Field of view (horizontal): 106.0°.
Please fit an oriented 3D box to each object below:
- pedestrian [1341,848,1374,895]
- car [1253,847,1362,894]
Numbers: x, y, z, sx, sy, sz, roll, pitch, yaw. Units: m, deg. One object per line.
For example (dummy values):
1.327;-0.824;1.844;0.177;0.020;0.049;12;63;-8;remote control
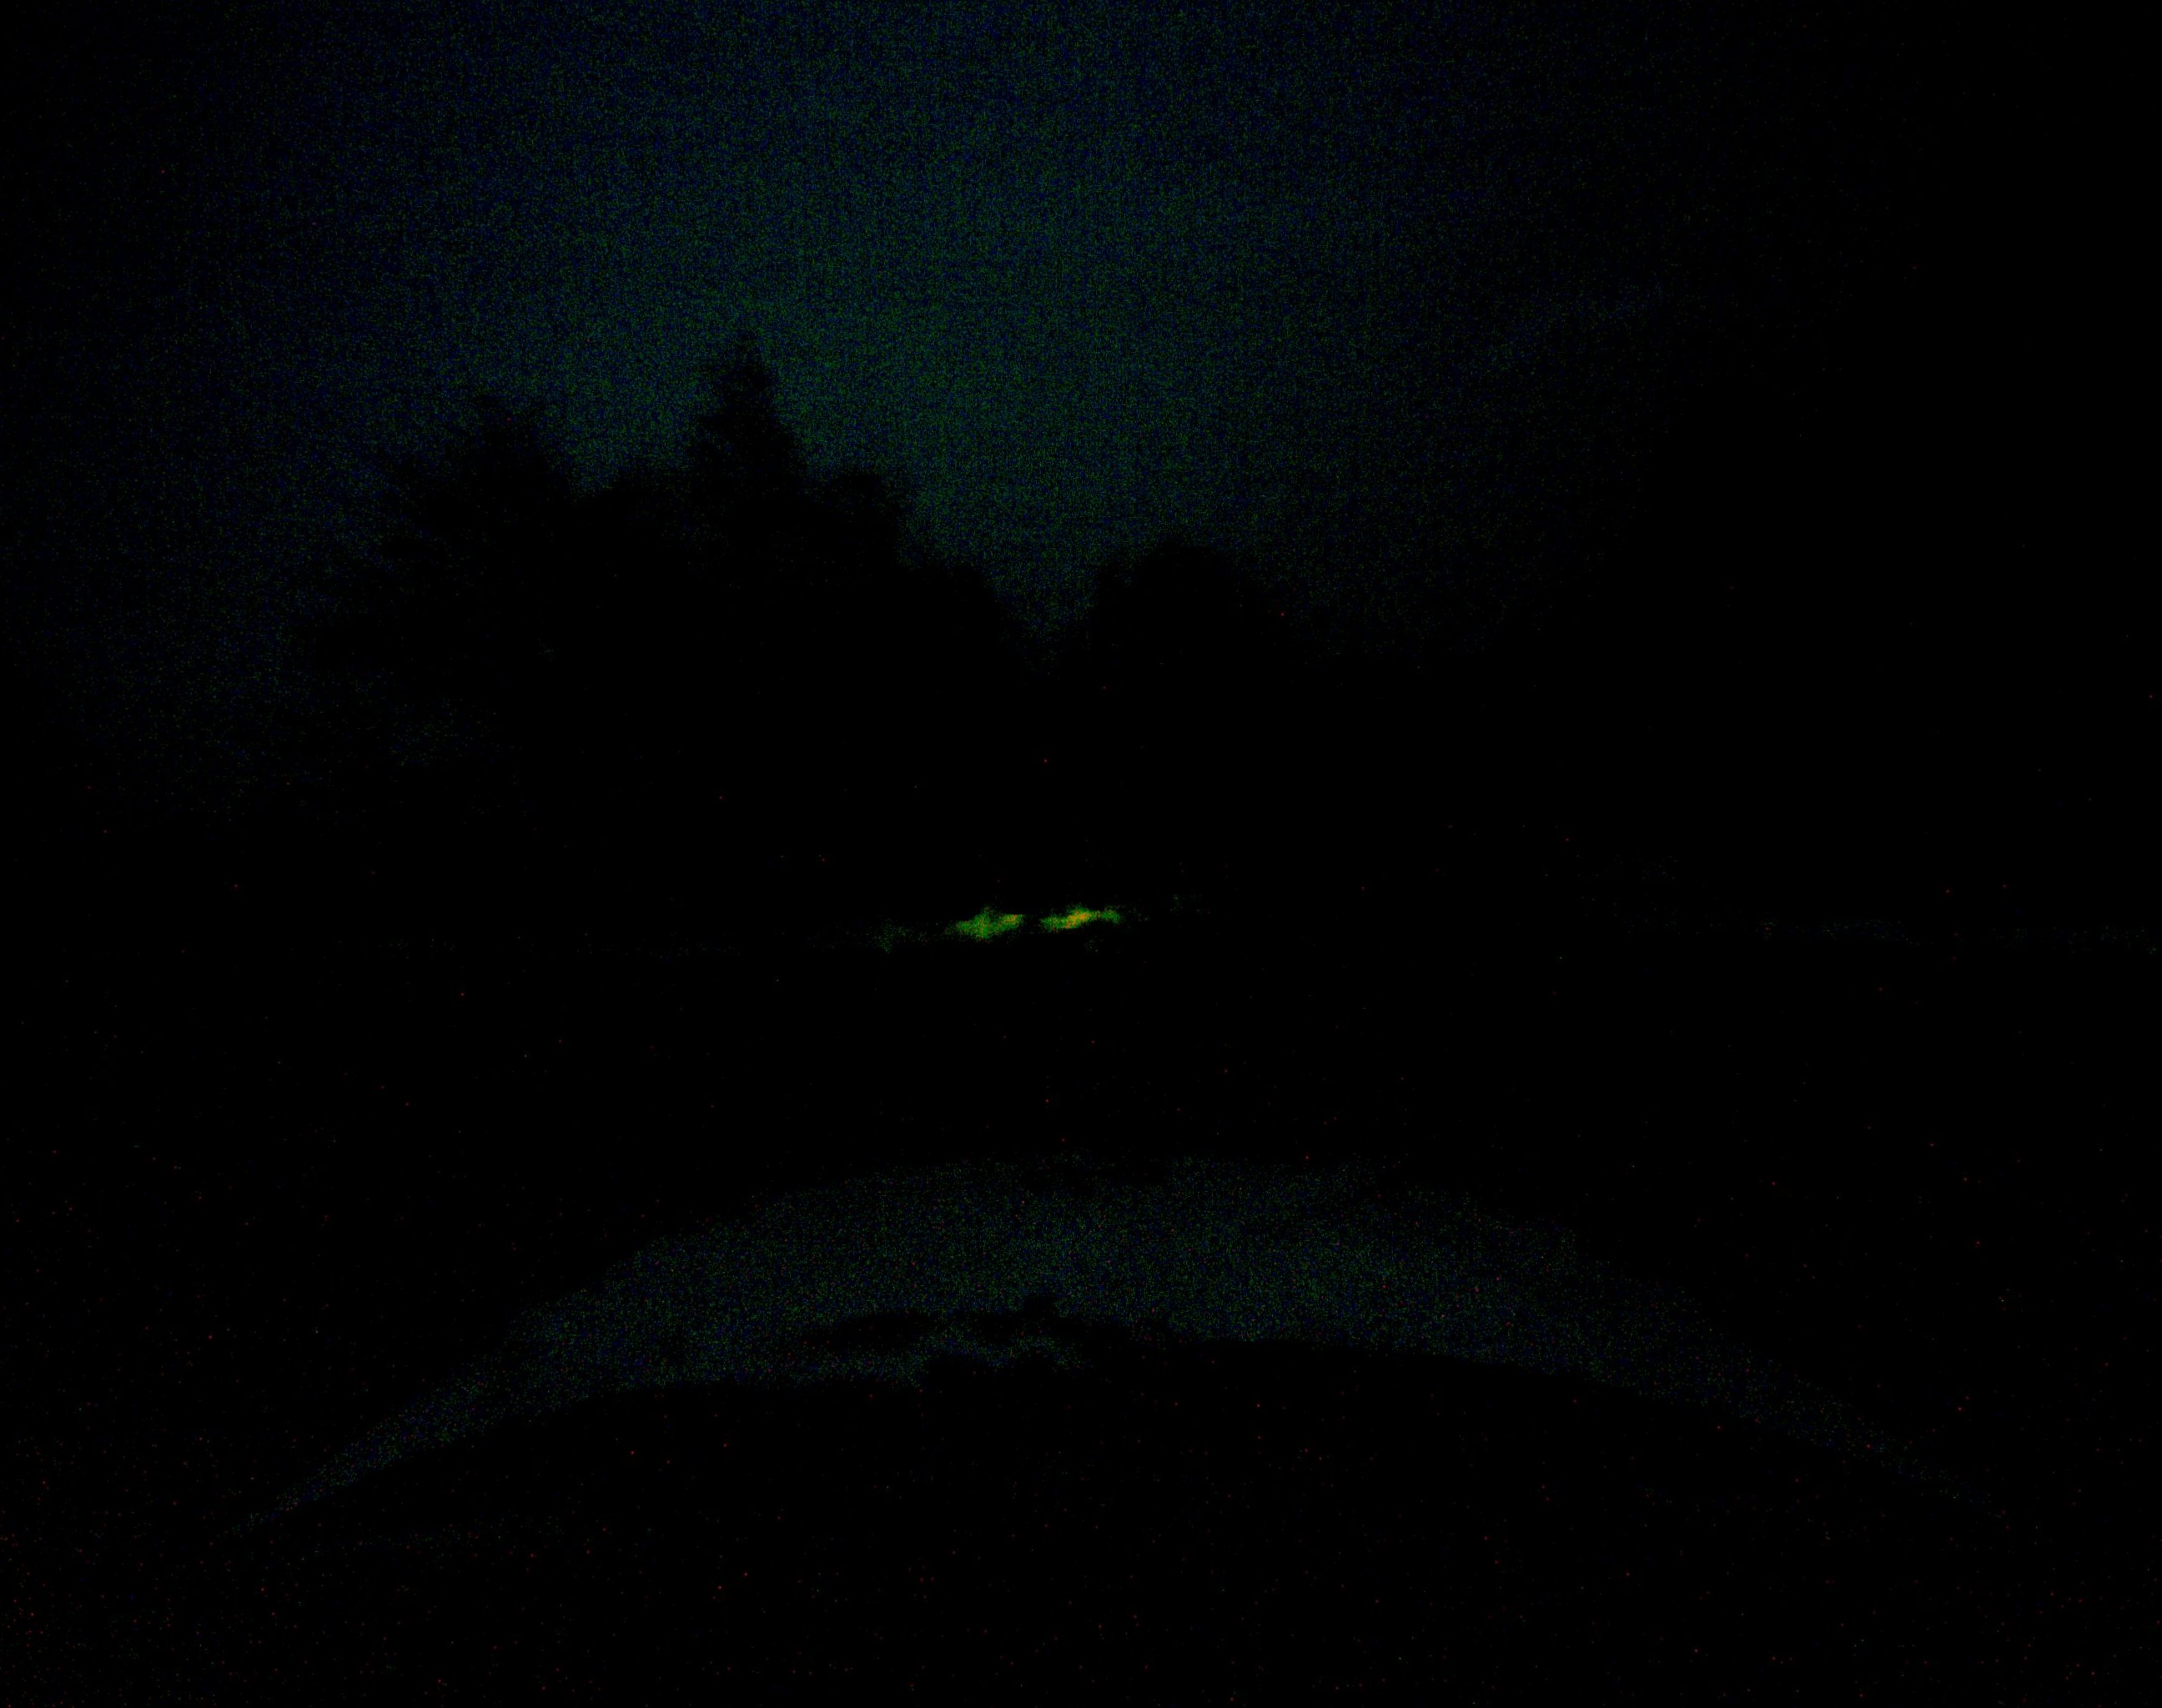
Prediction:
10.926;0.684;32.169;0.951;1.828;0.930;-1;-2;40;pedestrian
9.452;0.702;34.060;3.908;1.881;2.013;-1;-2;35;car
